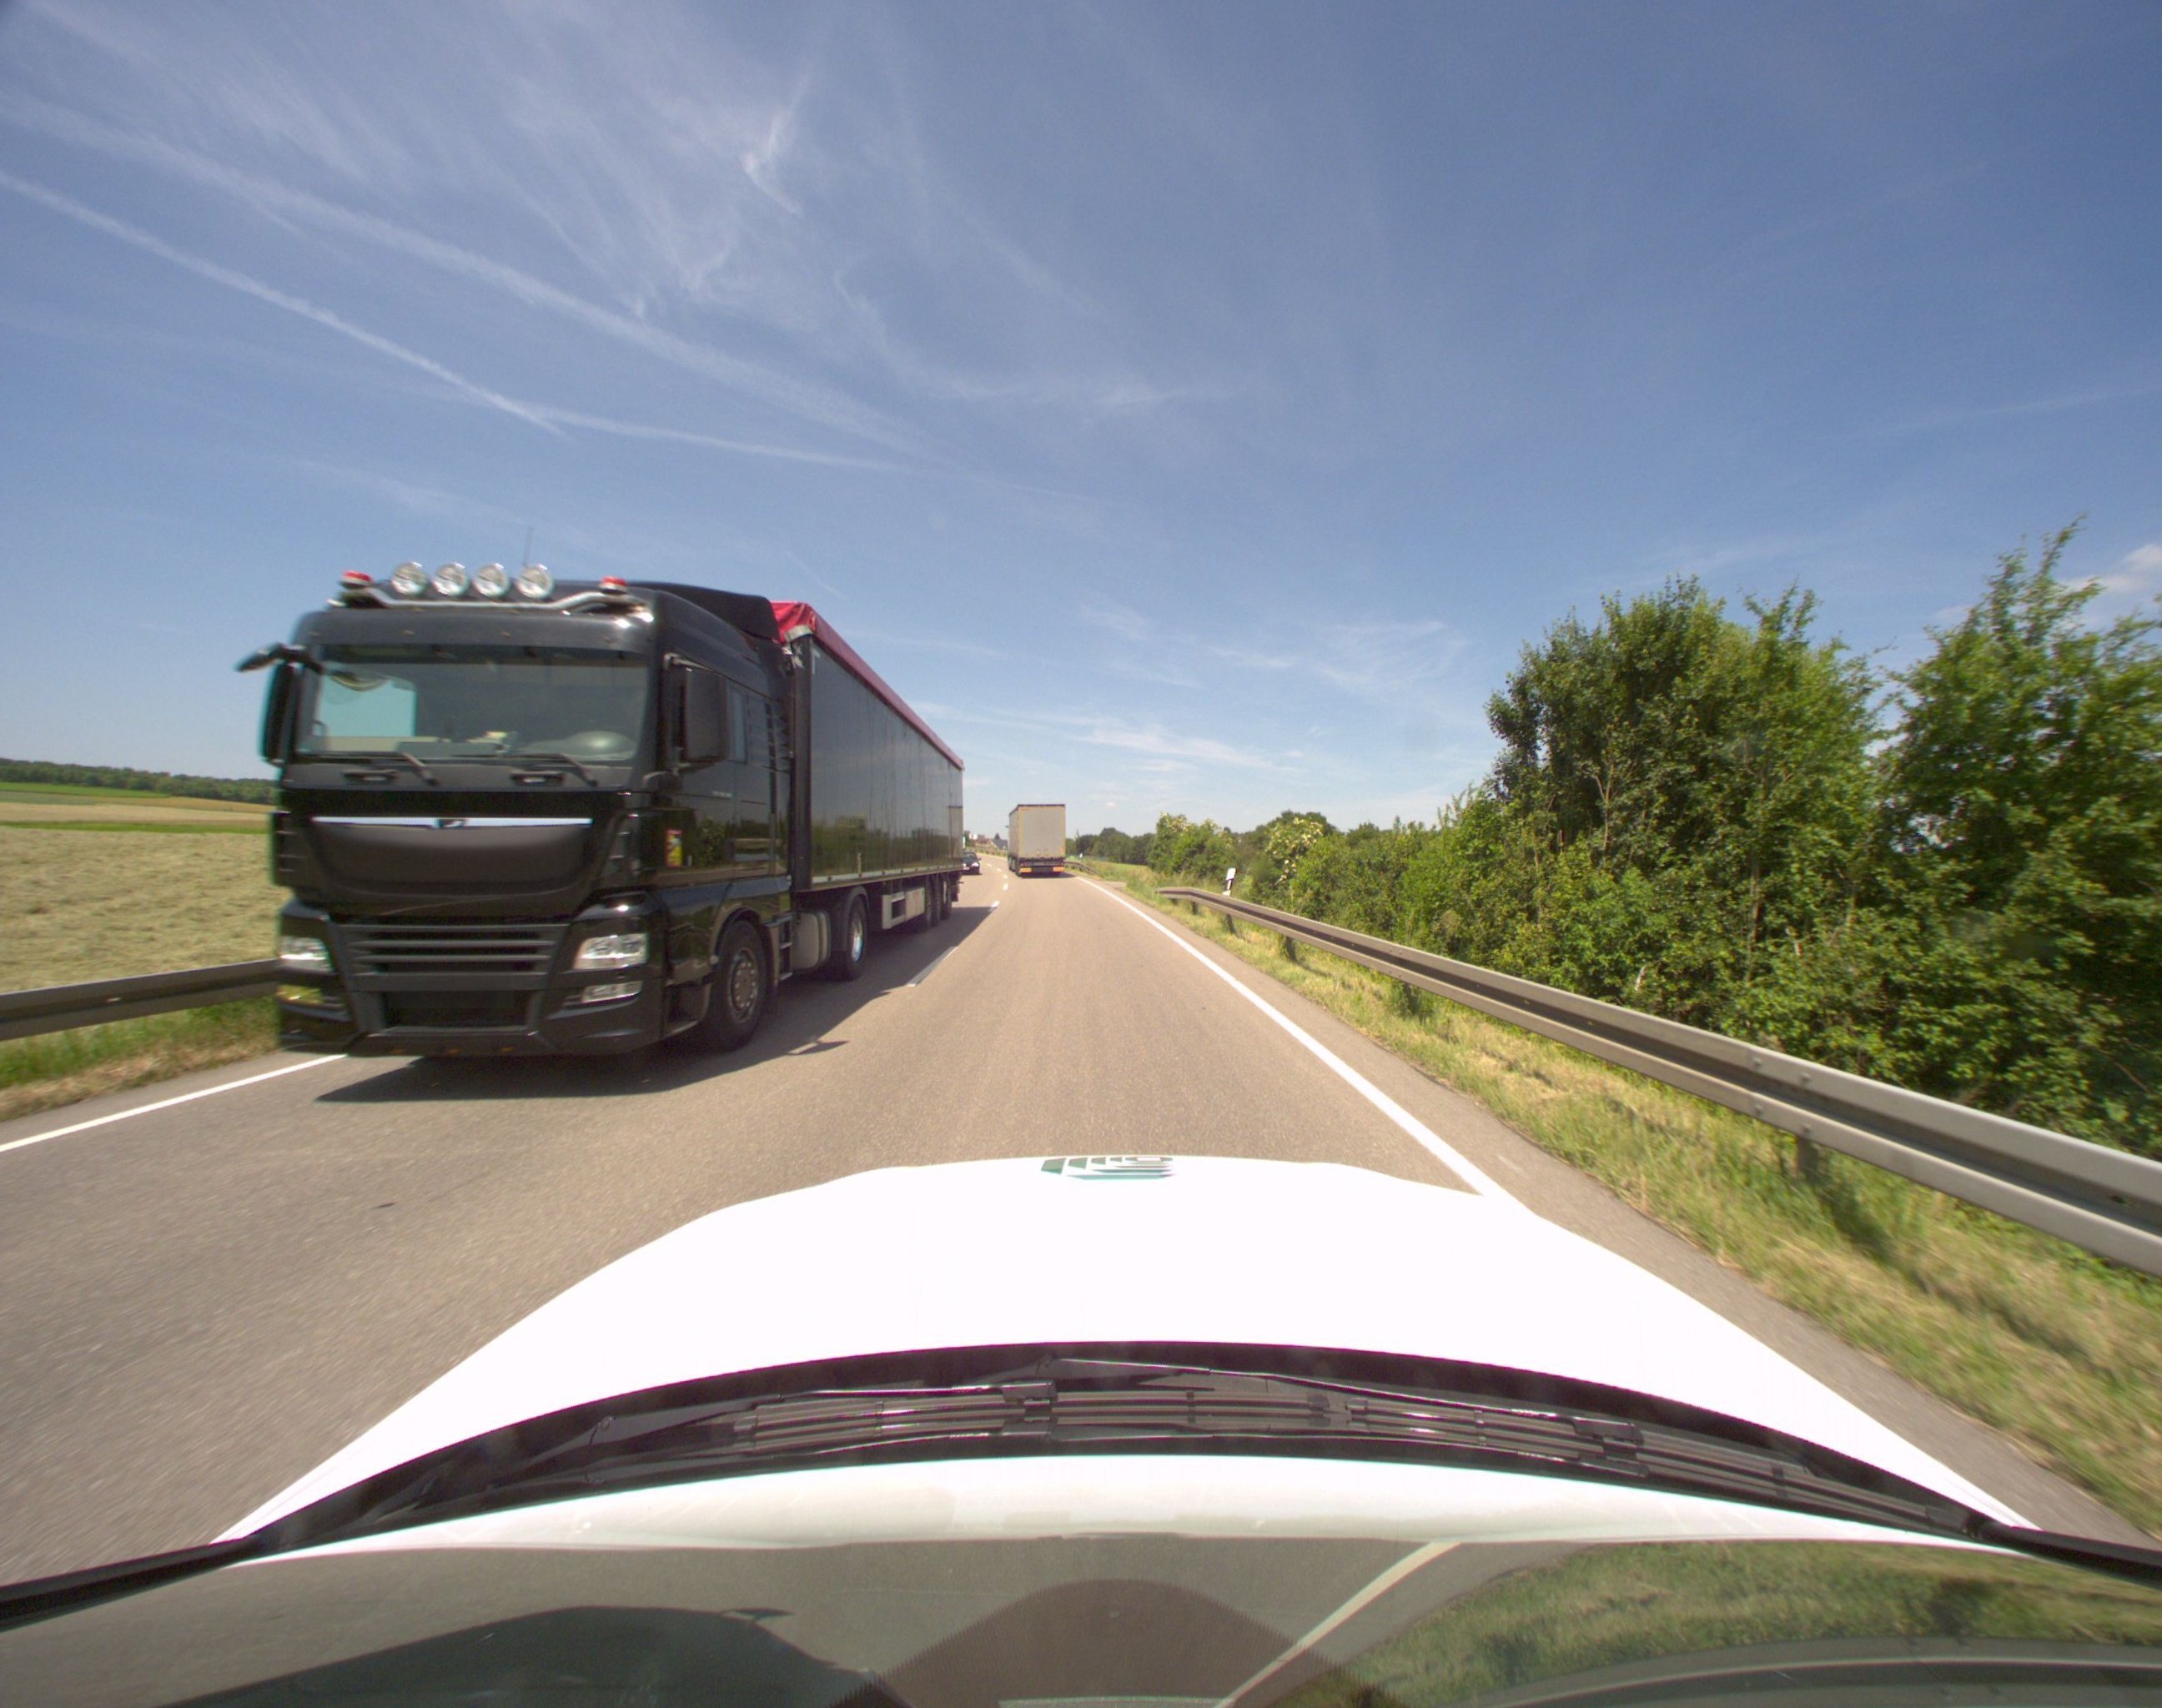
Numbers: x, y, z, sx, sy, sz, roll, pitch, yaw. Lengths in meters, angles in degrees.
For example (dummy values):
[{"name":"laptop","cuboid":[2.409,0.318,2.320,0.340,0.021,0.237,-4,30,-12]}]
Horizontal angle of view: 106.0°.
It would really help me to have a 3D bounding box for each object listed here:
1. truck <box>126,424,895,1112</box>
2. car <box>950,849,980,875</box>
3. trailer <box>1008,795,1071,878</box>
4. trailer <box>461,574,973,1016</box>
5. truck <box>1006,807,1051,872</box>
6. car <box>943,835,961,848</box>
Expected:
[{"name":"truck","cuboid":[-4.219,-0.551,8.309,3.233,4.150,6.647,-1,0,-2]},{"name":"car","cuboid":[-7.231,0.485,51.117,1.698,1.469,4.191,-1,1,-7]},{"name":"trailer","cuboid":[-2.827,-0.998,50.194,2.864,4.400,13.459,-1,1,-7]},{"name":"trailer","cuboid":[-4.379,-0.591,14.924,3.232,4.150,14.433,-1,0,-2]},{"name":"truck","cuboid":[-3.743,-0.987,57.290,2.857,4.401,5.058,-1,0,-7]},{"name":"car","cuboid":[-18.148,-1.753,114.582,1.732,1.872,3.972,0,0,-21]}]
